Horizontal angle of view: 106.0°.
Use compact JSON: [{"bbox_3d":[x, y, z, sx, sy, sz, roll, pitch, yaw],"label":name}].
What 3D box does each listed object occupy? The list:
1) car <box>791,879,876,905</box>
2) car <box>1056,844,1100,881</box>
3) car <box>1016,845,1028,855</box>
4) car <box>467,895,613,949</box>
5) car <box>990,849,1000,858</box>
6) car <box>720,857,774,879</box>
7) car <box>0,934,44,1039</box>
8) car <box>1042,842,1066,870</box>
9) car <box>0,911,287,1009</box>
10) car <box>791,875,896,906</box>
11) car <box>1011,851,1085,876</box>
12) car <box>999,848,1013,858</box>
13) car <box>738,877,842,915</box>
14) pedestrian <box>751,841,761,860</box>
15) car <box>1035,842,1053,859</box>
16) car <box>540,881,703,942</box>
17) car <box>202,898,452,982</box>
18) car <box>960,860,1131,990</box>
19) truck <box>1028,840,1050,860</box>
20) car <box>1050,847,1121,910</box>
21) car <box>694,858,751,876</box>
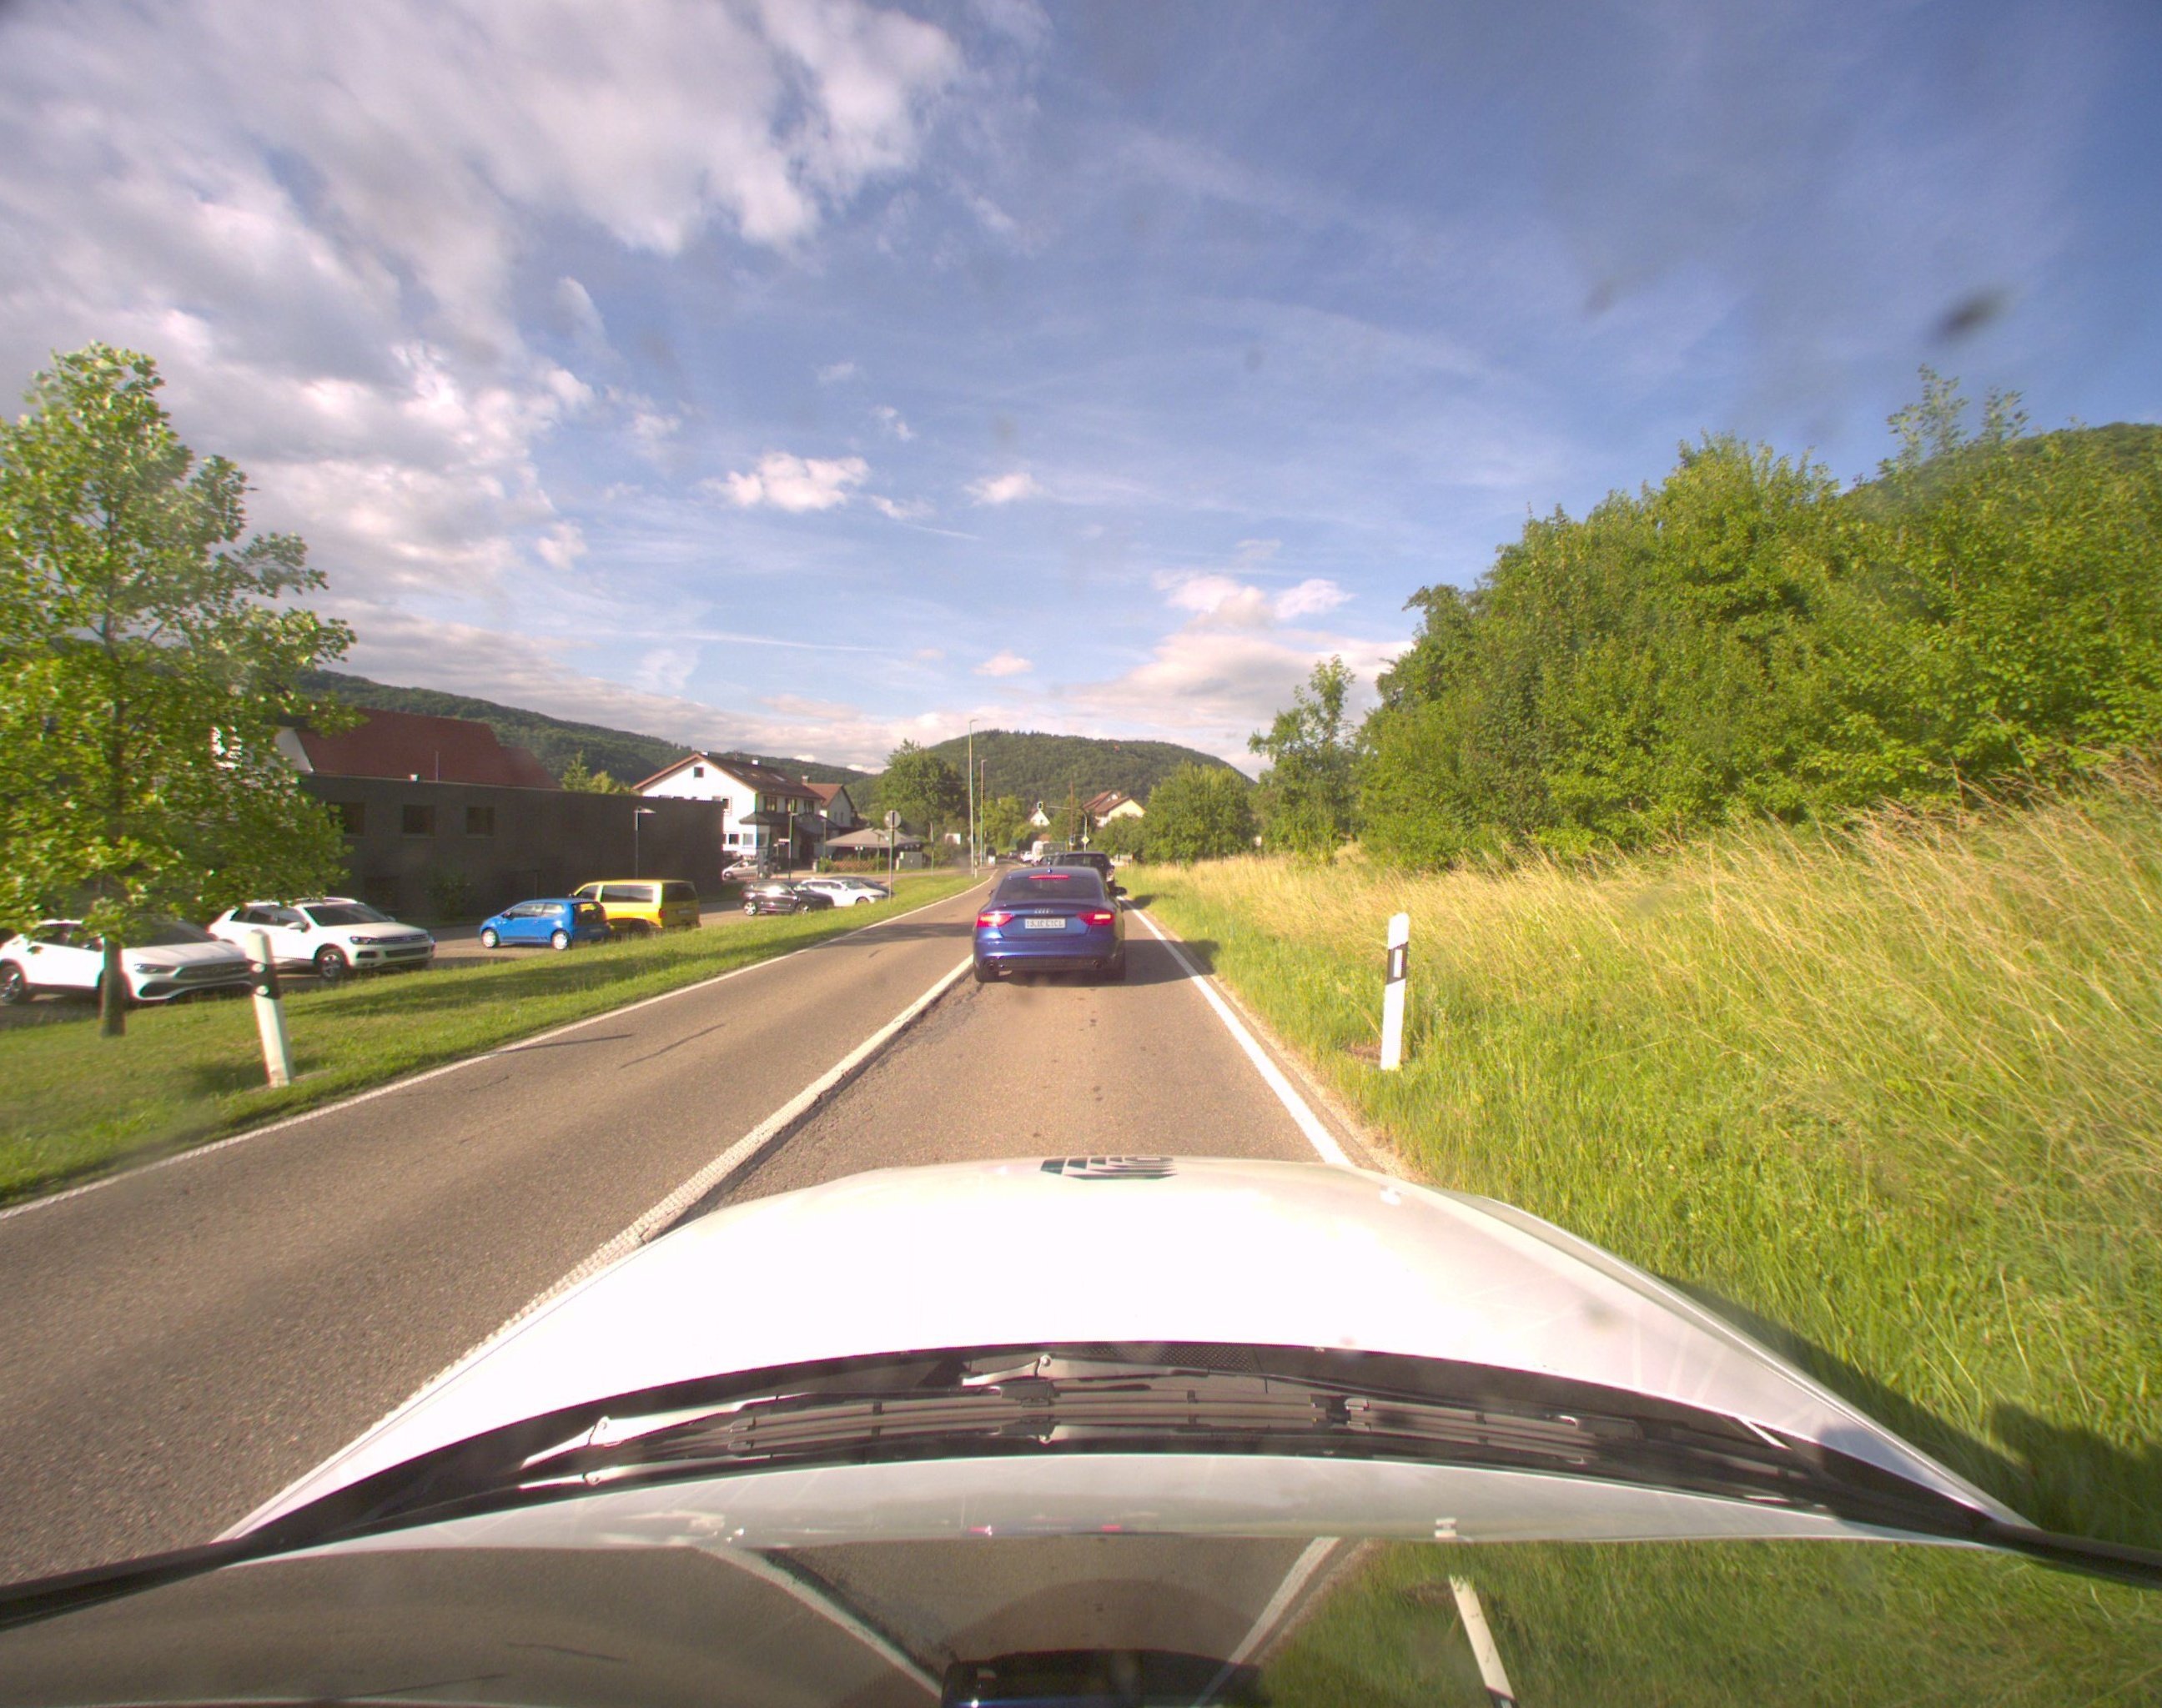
[{"bbox_3d":[-13.248,2.007,43.645,3.965,1.310,1.764,0,-1,7],"label":"car"},{"bbox_3d":[-0.091,0.402,38.346,1.797,1.639,4.467,0,-1,3],"label":"car"},{"bbox_3d":[-9.055,-0.552,124.794,1.696,1.490,3.518,0,-1,-7],"label":"car"},{"bbox_3d":[-16.287,2.013,24.590,3.472,1.472,1.637,0,-1,9],"label":"car"},{"bbox_3d":[-15.805,-0.073,149.170,1.626,1.576,3.667,0,-1,-10],"label":"car"},{"bbox_3d":[-25.263,1.043,61.722,3.461,1.662,1.734,0,-1,-11],"label":"car"},{"bbox_3d":[-18.886,2.073,12.376,4.509,1.555,2.006,0,-1,11],"label":"car"},{"bbox_3d":[-2.213,0.179,65.854,1.743,2.195,3.994,0,-1,-4],"label":"car"},{"bbox_3d":[-18.123,1.936,15.549,4.509,1.555,2.006,0,-1,11],"label":"car"},{"bbox_3d":[-12.048,1.843,41.361,4.782,1.493,1.887,0,-1,11],"label":"car"},{"bbox_3d":[-1.983,0.587,49.060,3.953,1.442,1.929,-1,-1,20],"label":"car"},{"bbox_3d":[-11.431,-0.209,124.102,1.699,1.490,3.511,0,-1,-13],"label":"car"},{"bbox_3d":[-13.194,1.891,37.032,3.998,1.637,2.006,0,-1,11],"label":"car"},{"bbox_3d":[-26.172,-0.304,65.611,0.606,1.503,0.589,0,-1,0],"label":"pedestrian"},{"bbox_3d":[-3.671,-0.304,80.289,1.743,1.639,3.994,0,-1,-4],"label":"car"},{"bbox_3d":[-15.187,1.856,27.007,4.576,1.868,2.008,-1,-1,15],"label":"car"},{"bbox_3d":[-17.557,1.942,19.053,4.509,1.703,2.006,0,-1,11],"label":"car"},{"bbox_3d":[-0.270,0.797,10.918,1.787,1.388,4.005,-1,-1,4],"label":"car"},{"bbox_3d":[-4.448,-0.394,85.613,1.697,1.953,5.903,0,-1,-9],"label":"truck"},{"bbox_3d":[0.211,0.662,23.154,1.738,1.639,4.005,0,-1,4],"label":"car"},{"bbox_3d":[-28.552,1.023,65.044,1.748,1.442,4.022,-1,-1,24],"label":"car"}]
